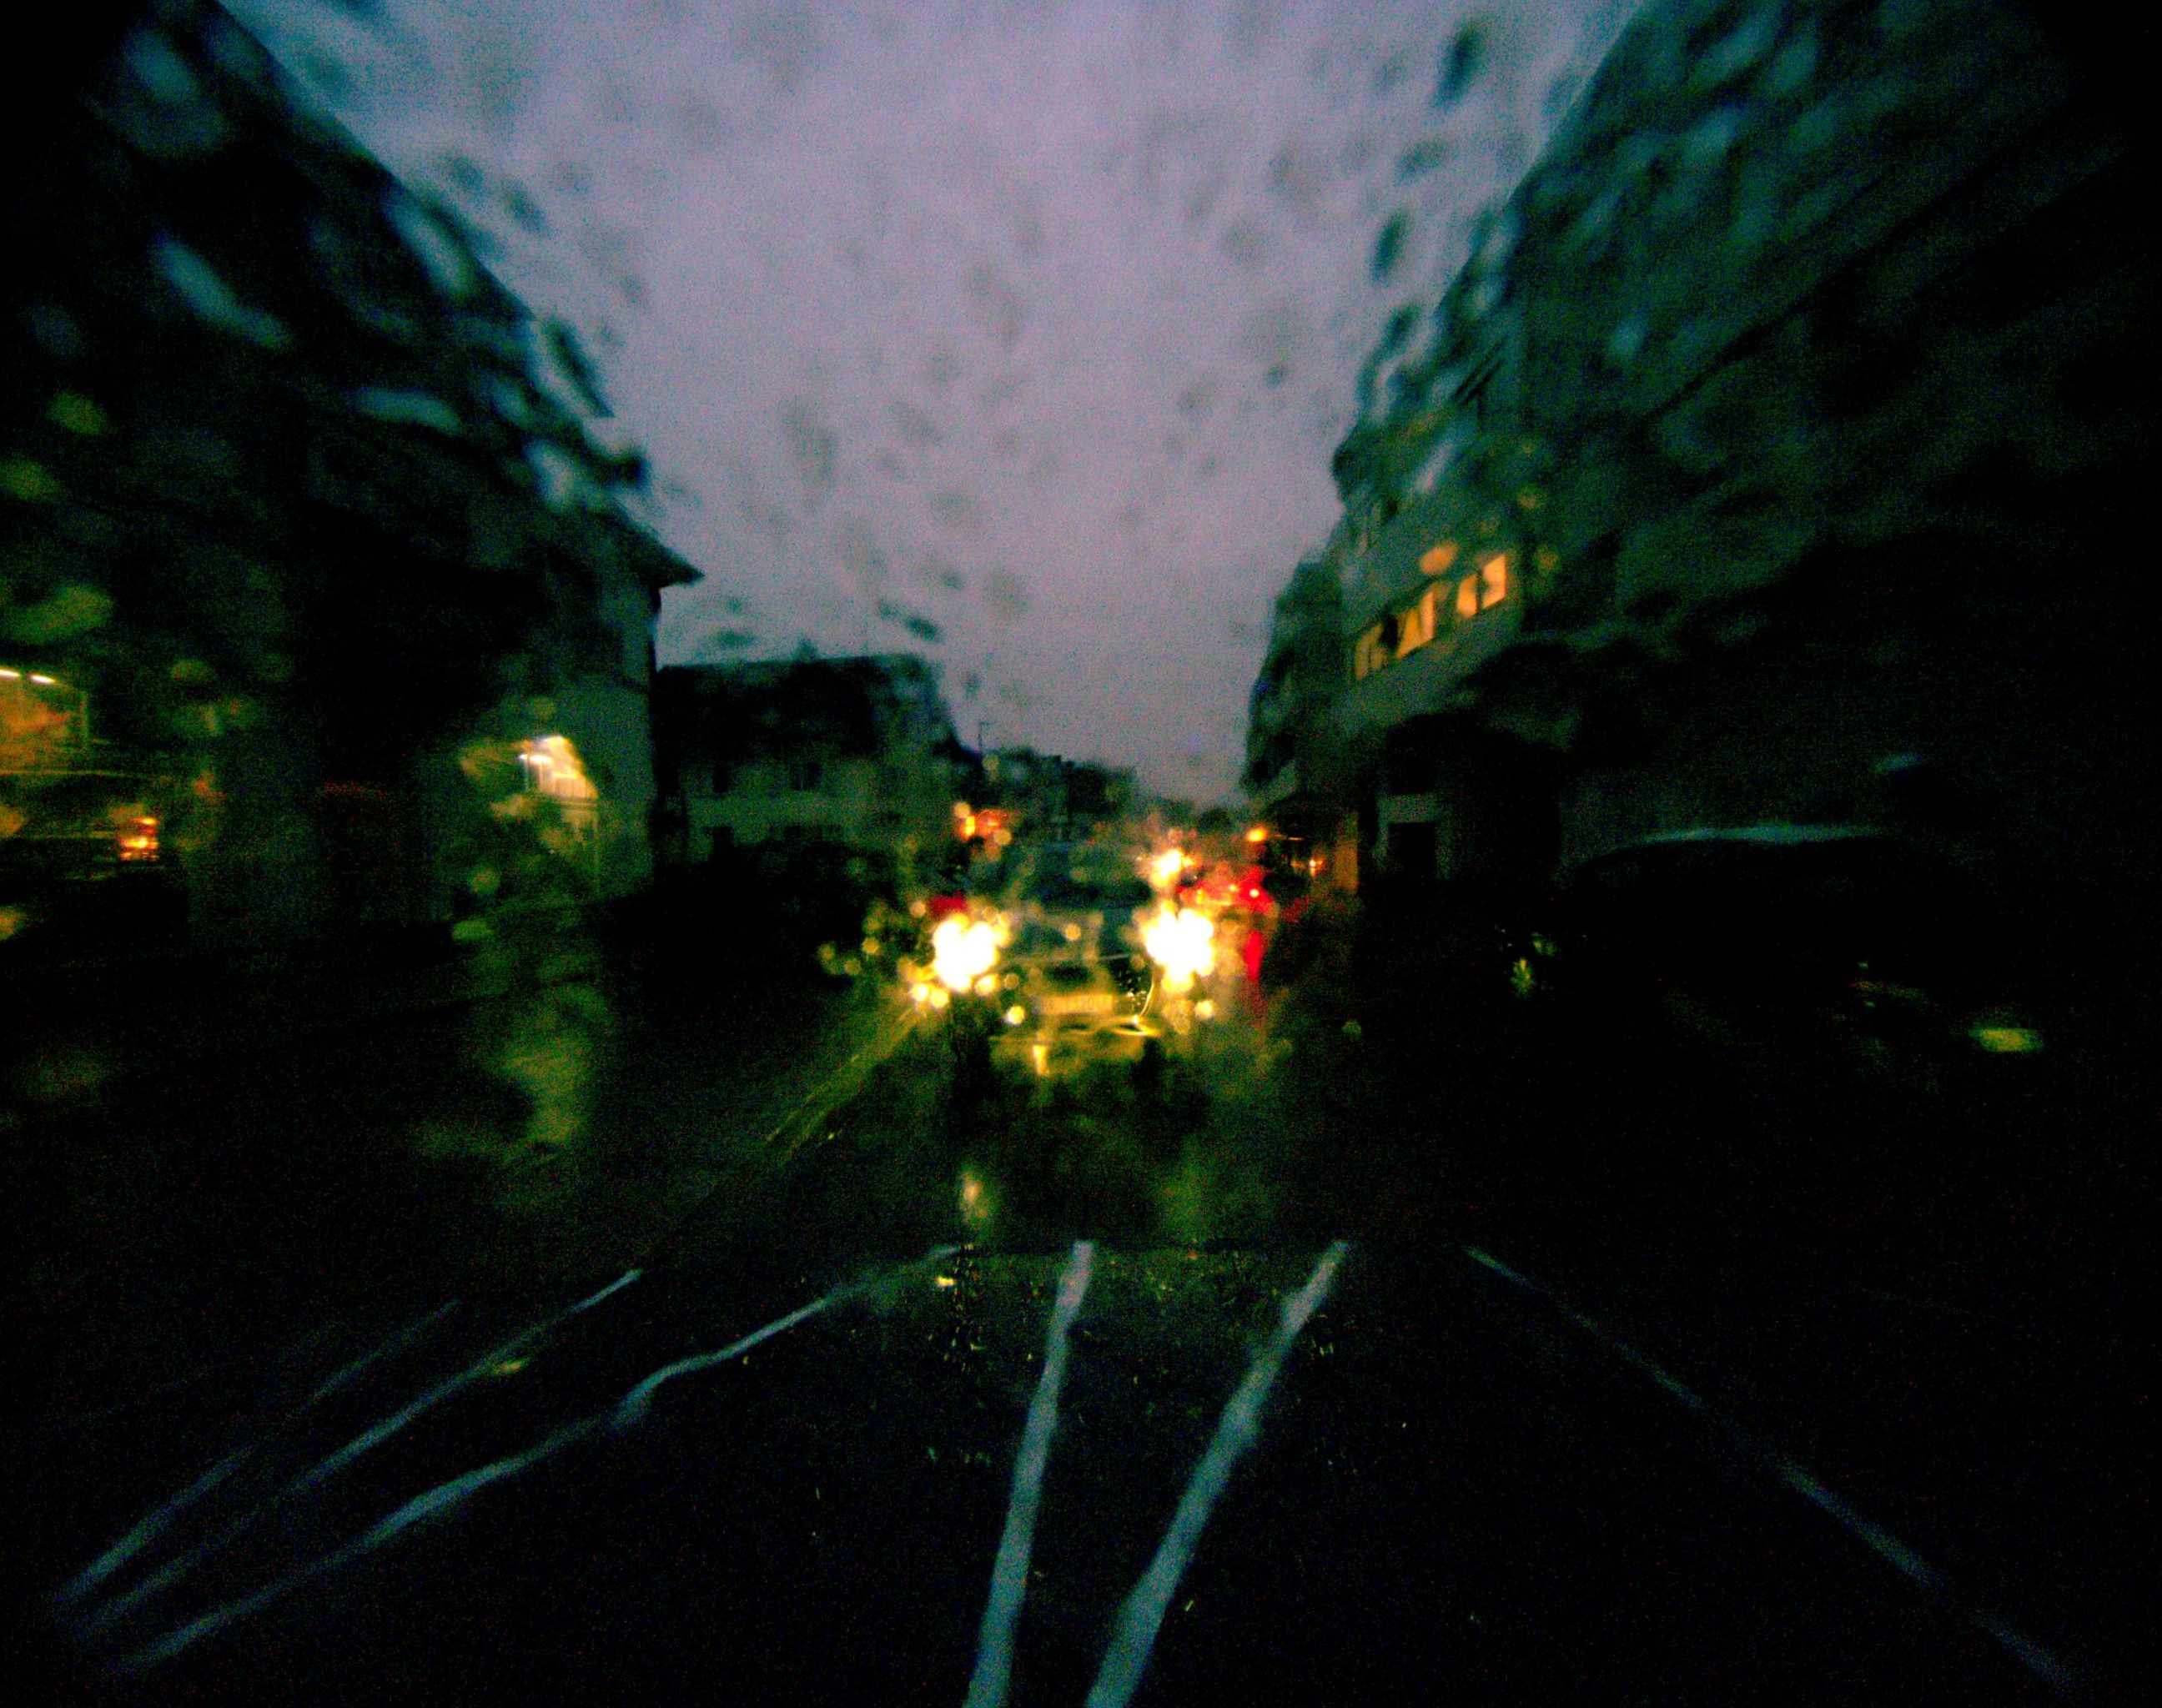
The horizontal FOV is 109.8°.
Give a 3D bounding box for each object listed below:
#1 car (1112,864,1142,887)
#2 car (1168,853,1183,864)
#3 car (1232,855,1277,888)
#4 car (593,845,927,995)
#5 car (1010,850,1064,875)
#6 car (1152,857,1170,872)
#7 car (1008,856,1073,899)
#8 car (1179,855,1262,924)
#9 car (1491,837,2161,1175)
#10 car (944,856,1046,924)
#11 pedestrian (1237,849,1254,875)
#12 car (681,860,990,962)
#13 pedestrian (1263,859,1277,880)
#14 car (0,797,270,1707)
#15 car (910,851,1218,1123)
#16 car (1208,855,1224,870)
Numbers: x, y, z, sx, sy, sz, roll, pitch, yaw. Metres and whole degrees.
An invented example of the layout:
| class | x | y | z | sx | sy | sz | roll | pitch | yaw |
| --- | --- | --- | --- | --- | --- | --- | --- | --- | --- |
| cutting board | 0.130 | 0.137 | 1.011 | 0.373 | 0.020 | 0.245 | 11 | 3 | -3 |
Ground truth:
| class | x | y | z | sx | sy | sz | roll | pitch | yaw |
| --- | --- | --- | --- | --- | --- | --- | --- | --- | --- |
| car | 3.378 | 1.508 | 55.433 | 1.797 | 1.501 | 4.002 | 1 | 1 | 8 |
| car | 12.995 | 0.628 | 104.468 | 1.797 | 1.501 | 4.003 | 1 | 1 | 10 |
| car | 8.139 | 0.771 | 35.905 | 1.678 | 1.438 | 4.430 | 0 | 0 | 7 |
| car | -3.881 | 0.781 | 9.700 | 3.514 | 1.671 | 1.715 | 2 | 0 | -4 |
| car | -2.920 | 0.550 | 50.699 | 3.295 | 1.433 | 1.687 | 3 | 1 | 8 |
| car | 8.941 | 1.155 | 85.017 | 1.797 | 1.501 | 4.002 | 1 | 1 | 8 |
| car | -1.489 | 0.842 | 29.430 | 1.798 | 1.452 | 4.532 | 1 | 1 | 6 |
| car | 3.398 | 0.821 | 18.997 | 1.641 | 1.526 | 3.407 | -1 | 0 | 4 |
| car | 4.981 | 0.750 | 5.660 | 1.799 | 1.633 | 3.812 | -2 | 0 | 1 |
| car | -2.128 | 0.855 | 20.130 | 1.886 | 1.538 | 4.672 | 1 | 0 | 3 |
| pedestrian | 12.432 | 0.580 | 57.418 | 1.200 | 1.927 | 0.978 | 0 | 0 | 16 |
| car | -3.863 | 0.881 | 12.567 | 4.478 | 1.465 | 1.898 | 1 | 0 | 0 |
| pedestrian | 12.033 | 0.955 | 48.315 | 0.757 | 1.302 | 0.829 | -1 | 1 | 7 |
| car | -3.815 | 0.789 | 0.349 | 4.617 | 1.765 | 1.945 | 0 | 0 | -4 |
| car | -0.111 | 0.831 | 6.786 | 1.879 | 1.622 | 3.999 | -2 | 1 | 0 |
| car | 15.290 | 0.903 | 86.086 | 1.724 | 1.604 | 3.819 | -2 | 0 | 10 |
